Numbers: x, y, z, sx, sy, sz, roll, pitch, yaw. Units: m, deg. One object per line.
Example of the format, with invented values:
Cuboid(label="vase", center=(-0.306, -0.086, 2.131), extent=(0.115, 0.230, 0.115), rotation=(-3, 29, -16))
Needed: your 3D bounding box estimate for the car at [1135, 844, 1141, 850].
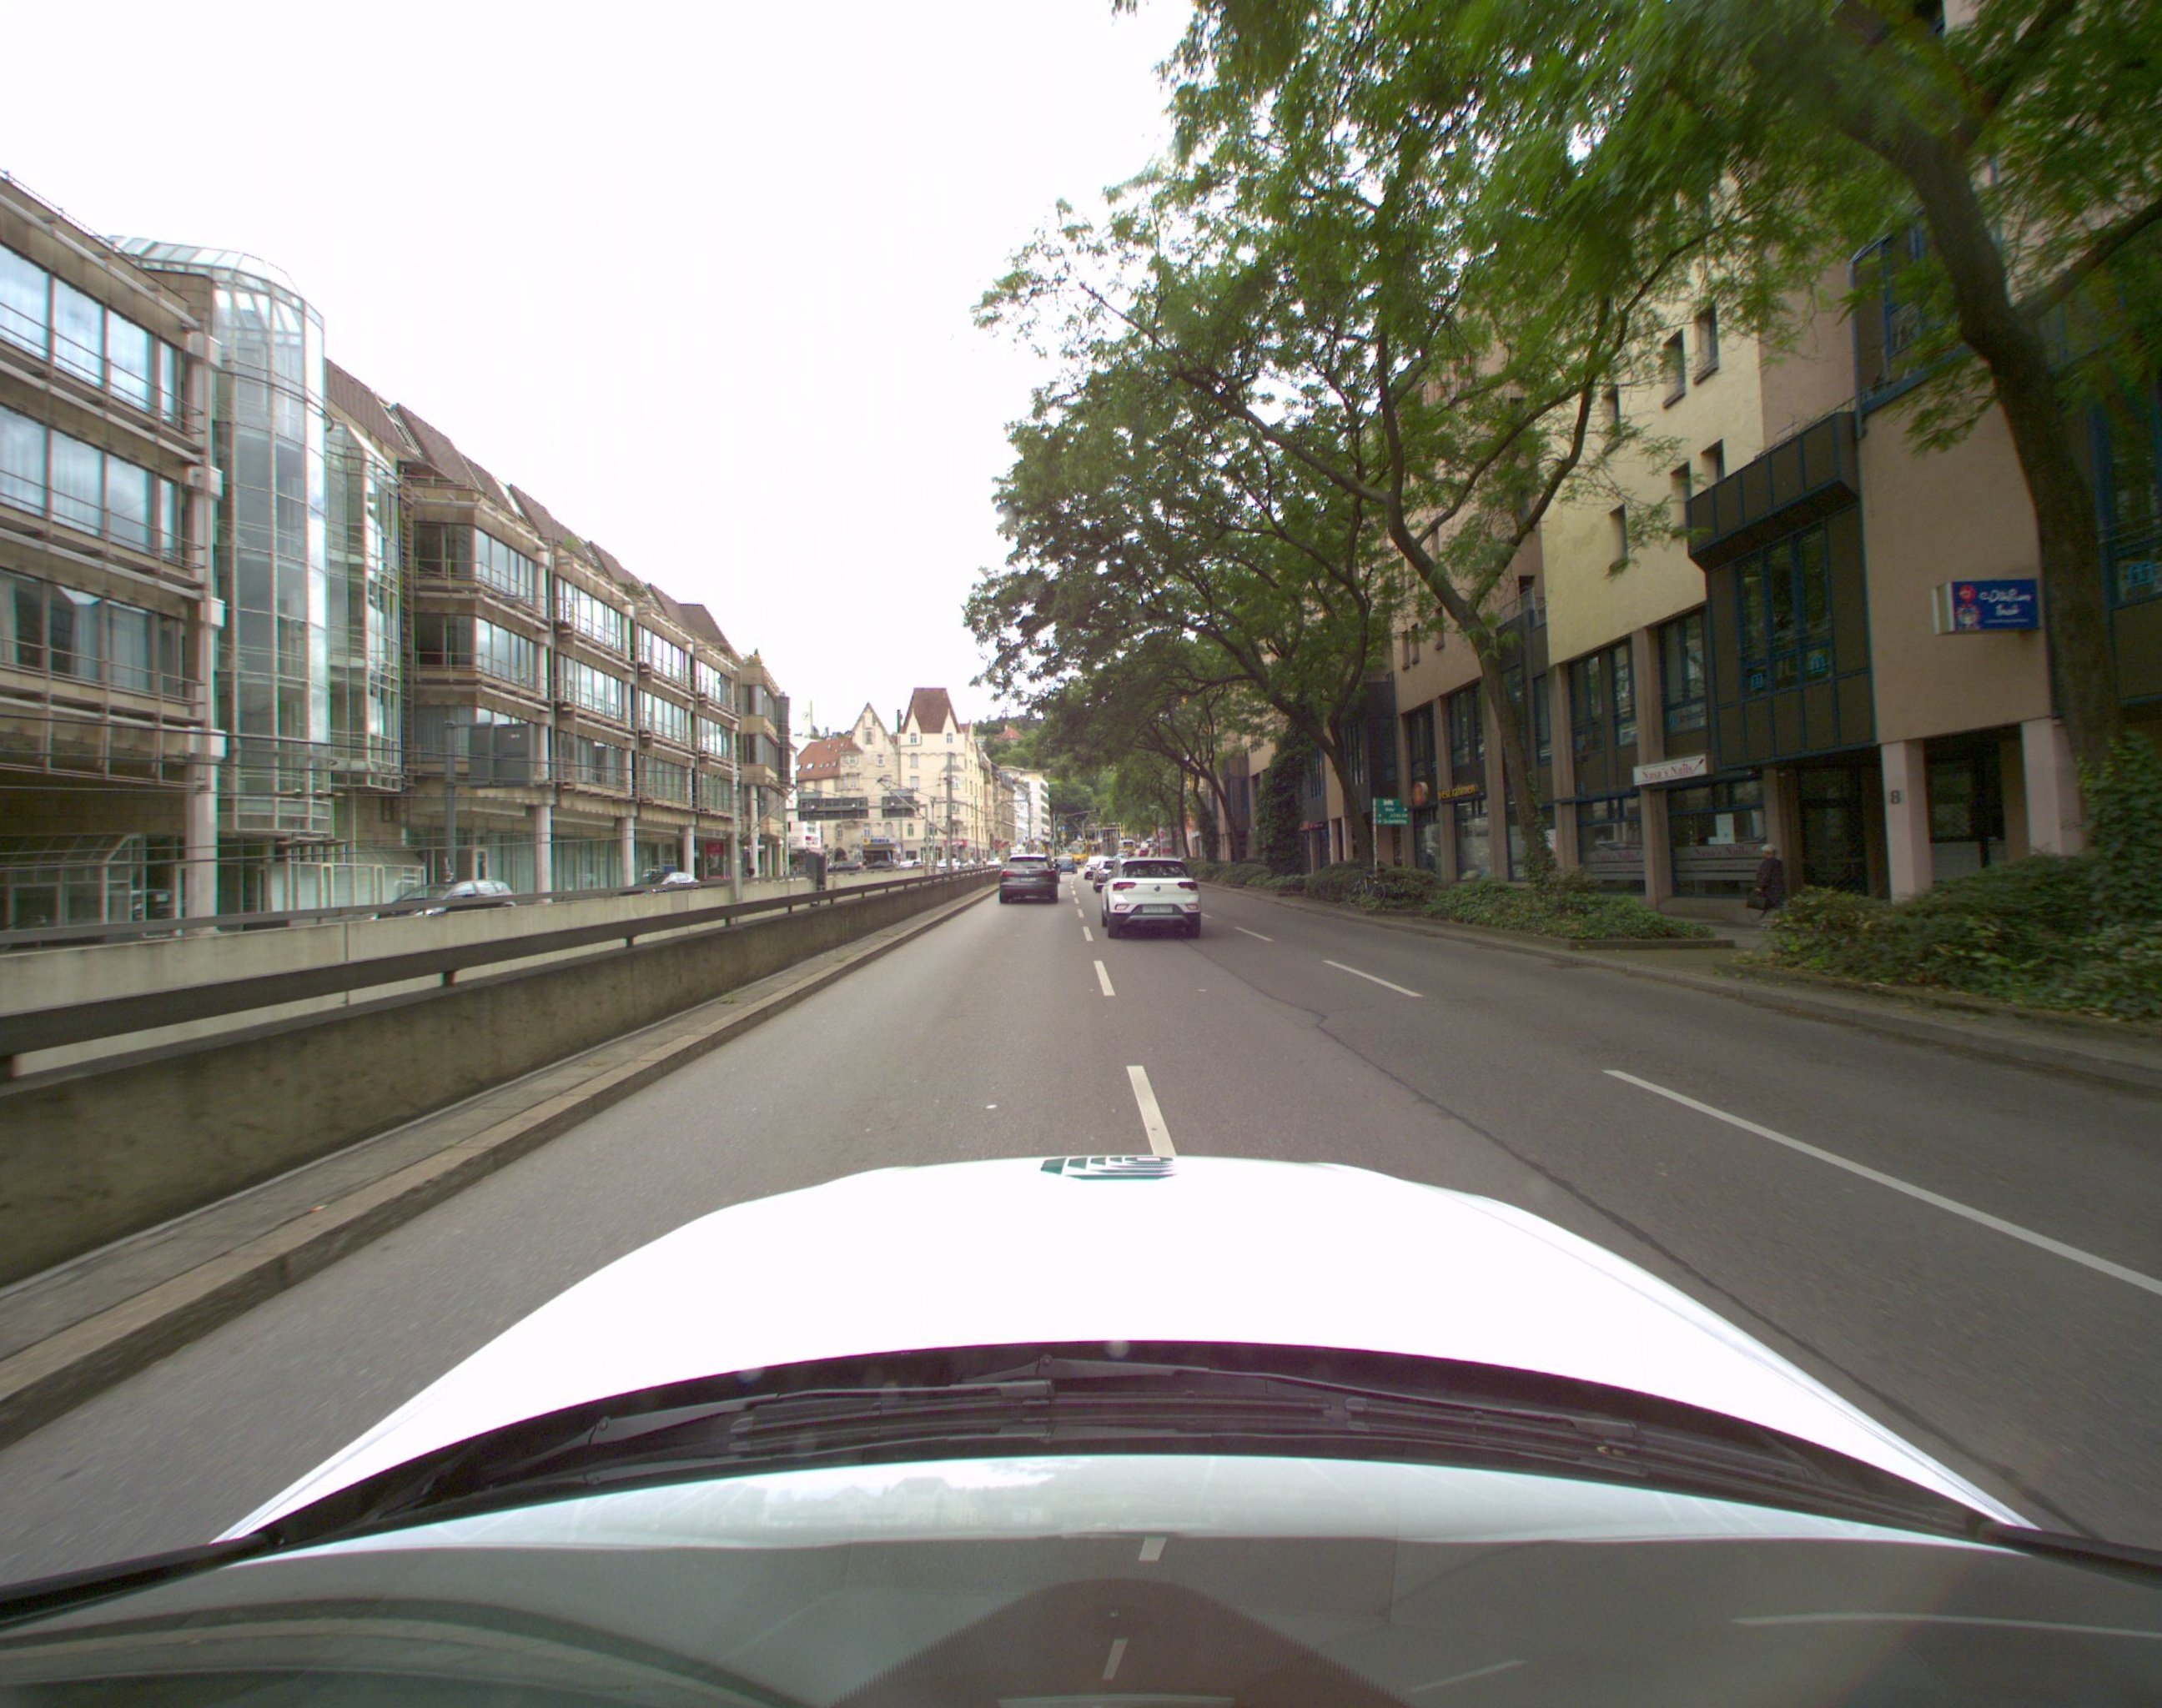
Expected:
Cuboid(label="car", center=(15.975, -1.879, 227.314), extent=(1.665, 1.561, 3.684), rotation=(-1, -1, 5))

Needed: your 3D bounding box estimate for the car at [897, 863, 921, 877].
Cuboid(label="car", center=(-19.690, 1.819, 93.425), extent=(1.658, 1.501, 4.414), rotation=(-2, 0, 1))

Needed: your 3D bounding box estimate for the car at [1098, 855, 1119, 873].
Cuboid(label="car", center=(3.079, 1.129, 92.491), extent=(2.357, 2.014, 5.148), rotation=(0, -1, 1))

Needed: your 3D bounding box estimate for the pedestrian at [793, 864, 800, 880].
Cuboid(label="pedestrian", center=(-33.243, 2.093, 95.022), extent=(0.507, 1.780, 0.578), rotation=(-1, -1, 8))

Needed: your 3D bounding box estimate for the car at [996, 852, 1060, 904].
Cuboid(label="car", center=(-1.773, 0.789, 28.400), extent=(1.988, 1.636, 3.998), rotation=(-1, -1, -1))

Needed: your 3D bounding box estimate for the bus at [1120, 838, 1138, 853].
Cuboid(label="bus", center=(10.443, -1.724, 175.946), extent=(3.355, 3.065, 13.344), rotation=(-1, 0, 5))

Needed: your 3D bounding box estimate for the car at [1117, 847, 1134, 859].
Cuboid(label="car", center=(7.616, -0.175, 139.860), extent=(2.351, 2.014, 5.161), rotation=(-1, -1, 9))

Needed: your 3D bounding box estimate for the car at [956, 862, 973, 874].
Cuboid(label="car", center=(-16.117, 1.952, 113.134), extent=(1.658, 1.501, 4.044), rotation=(-2, 0, 1))

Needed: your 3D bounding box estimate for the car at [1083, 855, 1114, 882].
Cuboid(label="car", center=(1.144, 0.942, 54.571), extent=(1.879, 1.684, 4.159), rotation=(0, -1, -1))

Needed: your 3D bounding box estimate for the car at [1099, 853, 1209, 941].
Cuboid(label="car", center=(1.383, 0.803, 16.965), extent=(1.832, 1.584, 4.155), rotation=(0, -1, -1))

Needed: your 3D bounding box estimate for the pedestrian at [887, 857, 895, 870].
Cuboid(label="pedestrian", center=(-27.225, 1.363, 116.674), extent=(0.777, 1.705, 0.655), rotation=(-1, -1, 11))

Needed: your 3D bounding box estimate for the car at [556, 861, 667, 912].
Cuboid(label="car", center=(-18.866, 1.268, 32.980), extent=(1.988, 1.914, 4.376), rotation=(0, -1, -1))

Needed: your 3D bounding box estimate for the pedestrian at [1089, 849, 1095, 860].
Cuboid(label="pedestrian", center=(1.696, 0.043, 124.989), extent=(0.682, 1.711, 0.713), rotation=(-1, 0, 5))

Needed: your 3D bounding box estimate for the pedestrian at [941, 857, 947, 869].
Cuboid(label="pedestrian", center=(-19.800, 1.339, 117.725), extent=(0.571, 1.780, 0.513), rotation=(-1, -1, 10))

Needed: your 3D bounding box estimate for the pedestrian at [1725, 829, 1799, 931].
Cuboid(label="pedestrian", center=(11.846, 0.441, 14.193), extent=(0.706, 1.711, 0.689), rotation=(-1, 0, 5))

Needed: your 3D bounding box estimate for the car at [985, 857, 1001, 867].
Cuboid(label="car", center=(-13.795, 1.207, 127.720), extent=(1.741, 1.561, 4.518), rotation=(0, -1, 4))

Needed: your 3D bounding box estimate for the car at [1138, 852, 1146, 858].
Cuboid(label="car", center=(12.059, 0.273, 160.628), extent=(1.574, 1.172, 3.684), rotation=(-1, -1, 5))

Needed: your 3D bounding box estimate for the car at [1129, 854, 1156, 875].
Cuboid(label="car", center=(5.992, 0.996, 79.964), extent=(2.357, 2.014, 5.148), rotation=(0, -1, 1))

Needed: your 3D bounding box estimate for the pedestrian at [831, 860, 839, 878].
Cuboid(label="pedestrian", center=(-24.090, 1.470, 79.671), extent=(0.507, 1.780, 0.578), rotation=(-1, -1, 8))

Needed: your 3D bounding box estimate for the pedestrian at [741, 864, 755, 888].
Cuboid(label="pedestrian", center=(-25.685, 1.673, 62.807), extent=(0.728, 1.811, 0.740), rotation=(0, -1, 0))

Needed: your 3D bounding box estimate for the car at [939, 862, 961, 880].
Cuboid(label="car", center=(-14.272, 1.798, 89.000), extent=(1.829, 1.842, 4.599), rotation=(2, -1, -3))

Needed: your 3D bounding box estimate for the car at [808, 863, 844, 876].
Cuboid(label="car", center=(-30.915, 1.875, 98.742), extent=(4.043, 1.501, 1.658), rotation=(-2, 0, -20))

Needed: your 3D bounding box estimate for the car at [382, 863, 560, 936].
Cuboid(label="car", center=(-18.933, 1.328, 25.617), extent=(1.988, 1.963, 4.787), rotation=(-2, 0, -1))

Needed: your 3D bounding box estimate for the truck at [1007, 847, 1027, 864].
Cuboid(label="truck", center=(-11.799, 0.251, 150.751), extent=(2.254, 3.076, 7.390), rotation=(-1, -1, 8))

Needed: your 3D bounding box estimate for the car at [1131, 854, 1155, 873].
Cuboid(label="car", center=(6.905, 1.076, 90.874), extent=(2.357, 2.014, 5.148), rotation=(0, -1, 1))

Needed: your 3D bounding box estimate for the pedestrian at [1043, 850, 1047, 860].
Cuboid(label="pedestrian", center=(-5.947, 0.205, 135.139), extent=(0.634, 1.711, 0.689), rotation=(-1, 0, -3))

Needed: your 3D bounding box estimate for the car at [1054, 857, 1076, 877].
Cuboid(label="car", center=(-1.388, 1.094, 70.645), extent=(1.879, 1.684, 4.159), rotation=(0, -1, -1))

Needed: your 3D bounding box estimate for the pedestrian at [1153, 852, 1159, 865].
Cuboid(label="pedestrian", center=(10.965, 0.652, 119.286), extent=(0.690, 1.777, 0.690), rotation=(-6, 0, 1))

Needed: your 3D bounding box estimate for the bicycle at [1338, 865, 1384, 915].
Cuboid(label="bicycle", center=(7.055, 0.880, 20.565), extent=(0.361, 1.201, 1.565), rotation=(-2, 0, -9))

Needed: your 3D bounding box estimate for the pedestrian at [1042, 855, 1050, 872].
Cuboid(label="pedestrian", center=(-3.659, 1.020, 85.776), extent=(0.761, 1.721, 0.638), rotation=(-1, 0, 5))

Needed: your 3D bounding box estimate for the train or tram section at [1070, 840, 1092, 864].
Cuboid(label="train or tram section", center=(0.008, -0.347, 128.303), extent=(2.821, 3.678, 5.762), rotation=(0, 0, 6))

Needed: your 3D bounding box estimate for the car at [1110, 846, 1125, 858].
Cuboid(label="car", center=(5.118, -0.235, 114.574), extent=(1.875, 1.684, 4.168), rotation=(-1, -1, 6))

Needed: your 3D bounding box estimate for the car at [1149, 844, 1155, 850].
Cuboid(label="car", center=(20.304, -1.926, 233.476), extent=(1.665, 1.561, 3.684), rotation=(-1, -1, 5))

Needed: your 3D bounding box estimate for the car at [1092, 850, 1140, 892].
Cuboid(label="car", center=(1.476, 0.717, 35.693), extent=(1.879, 1.684, 4.159), rotation=(0, -1, -1))
